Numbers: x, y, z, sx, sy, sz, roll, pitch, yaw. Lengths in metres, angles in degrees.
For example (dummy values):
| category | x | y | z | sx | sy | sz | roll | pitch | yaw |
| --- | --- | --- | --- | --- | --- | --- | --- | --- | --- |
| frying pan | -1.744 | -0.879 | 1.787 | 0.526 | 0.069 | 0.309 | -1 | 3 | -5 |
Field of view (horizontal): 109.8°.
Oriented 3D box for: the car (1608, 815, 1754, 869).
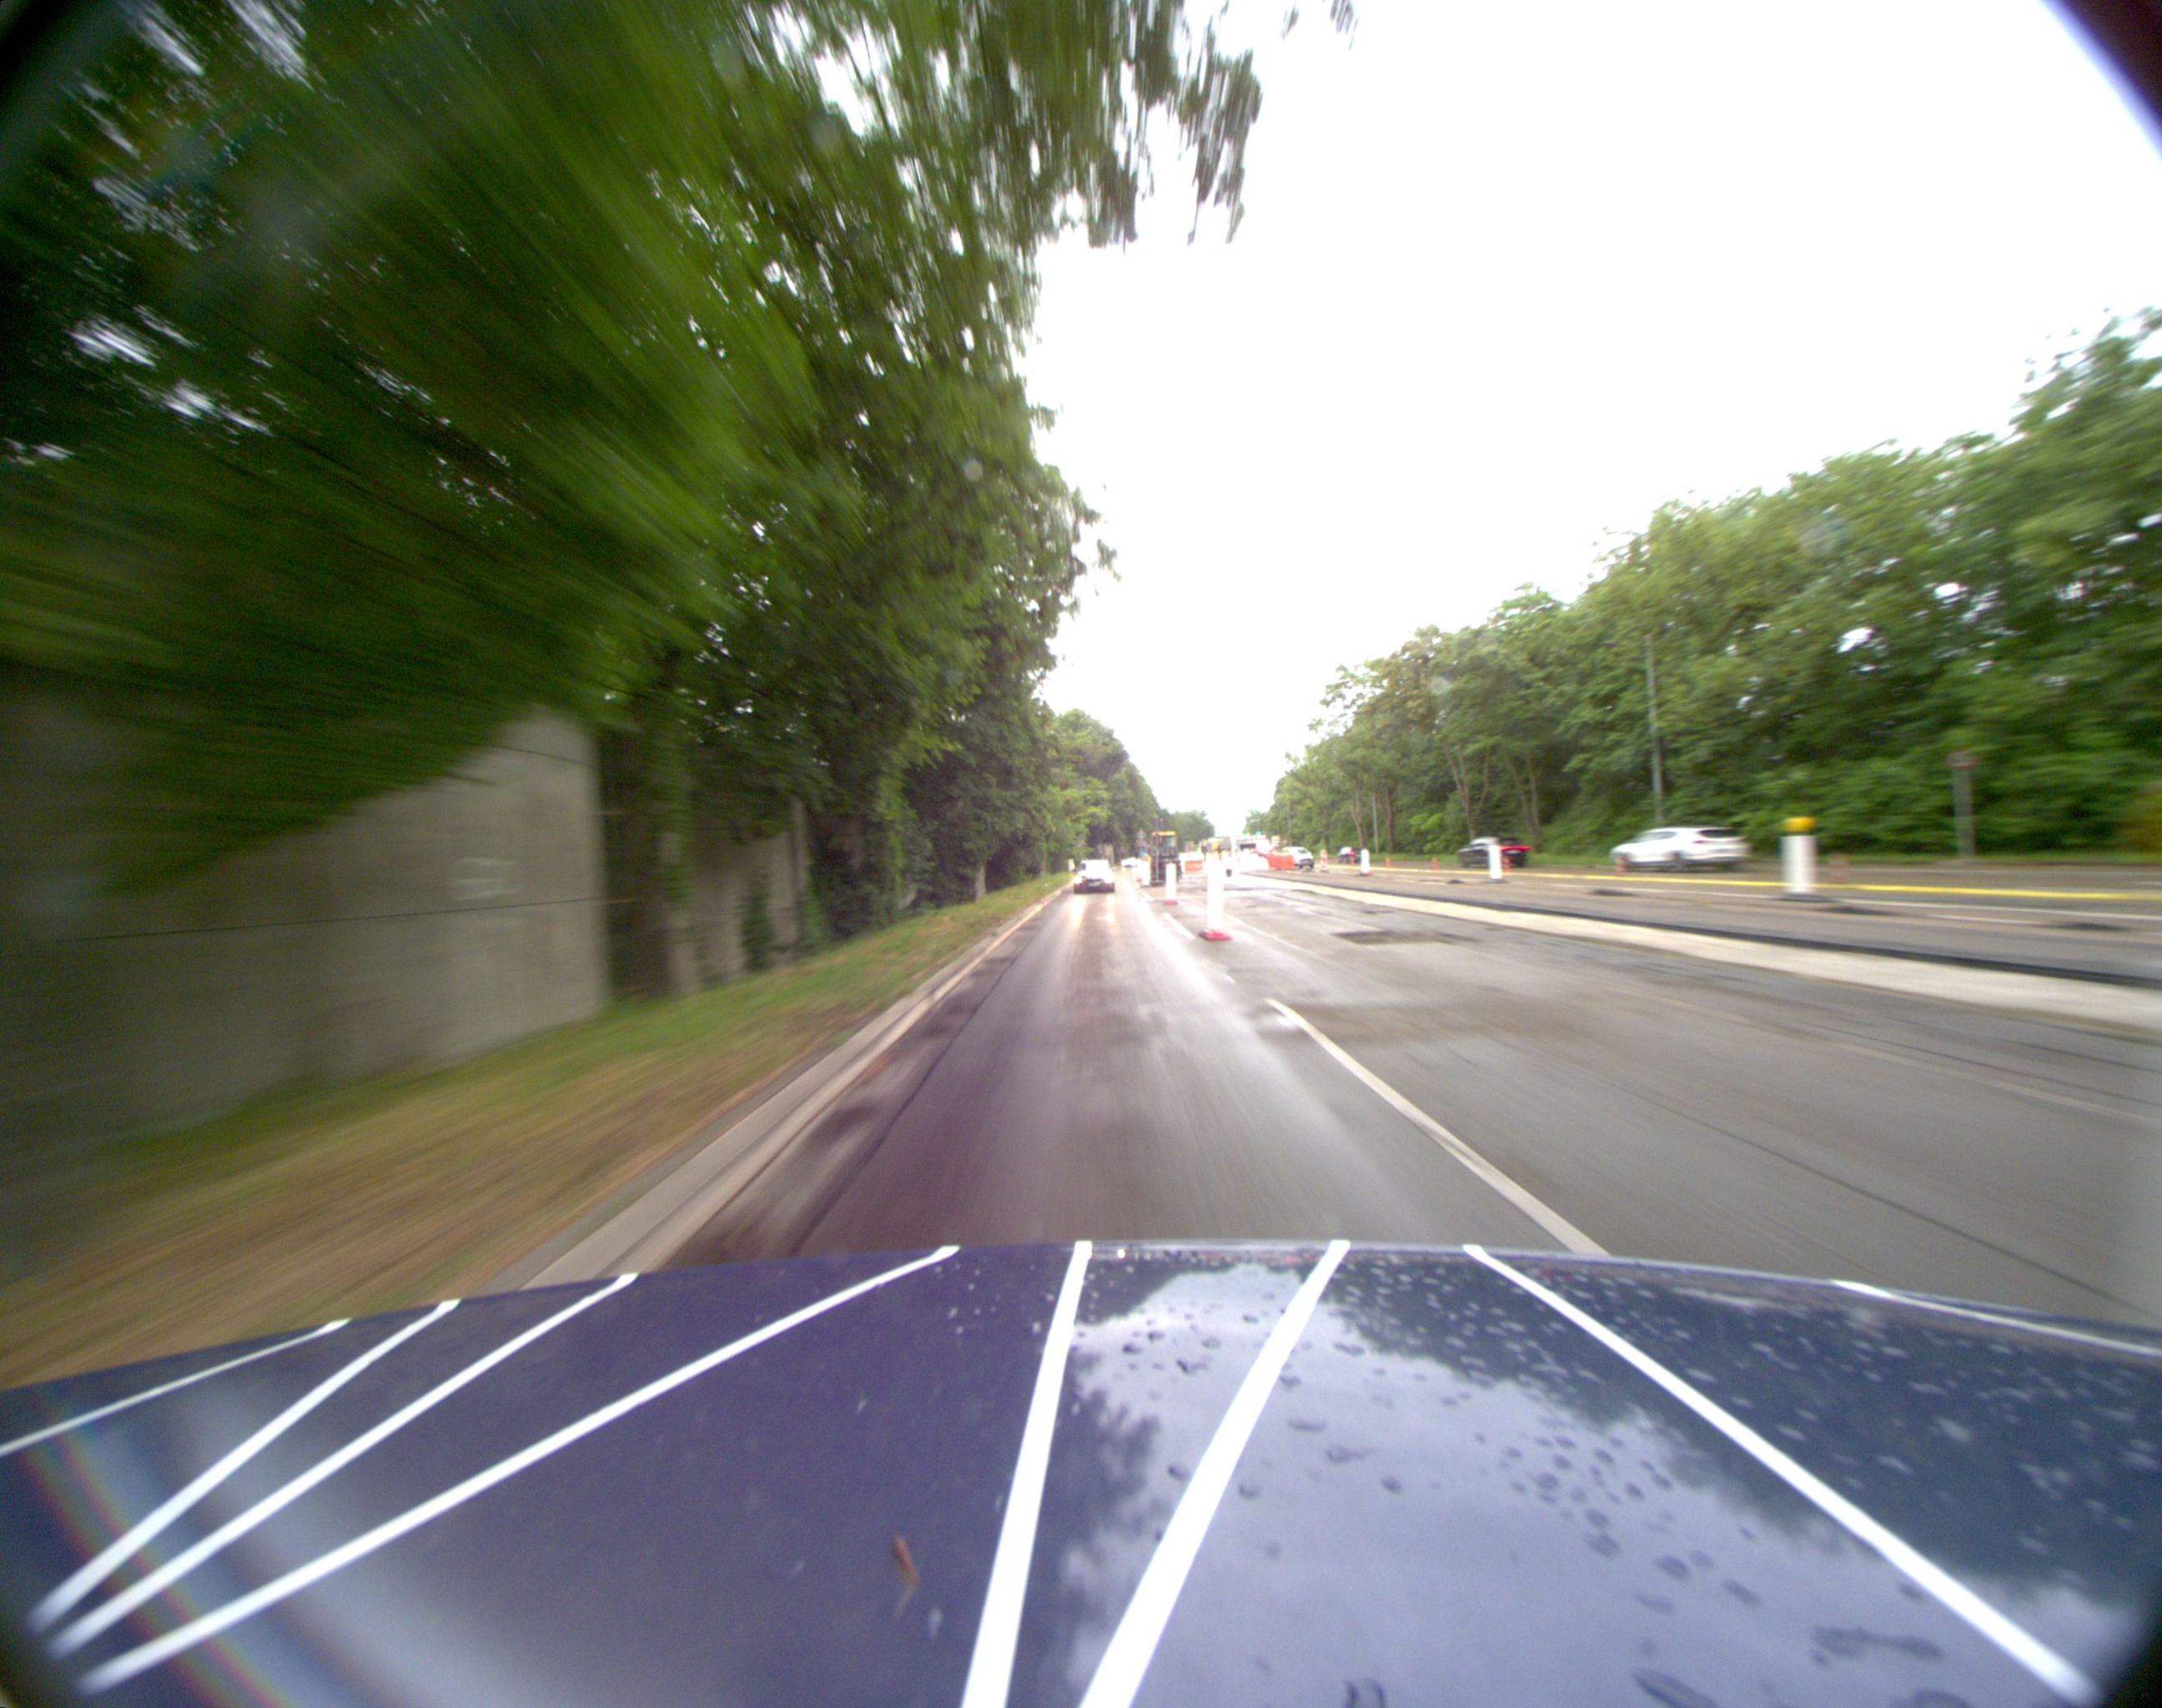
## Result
| category | x | y | z | sx | sy | sz | roll | pitch | yaw |
| --- | --- | --- | --- | --- | --- | --- | --- | --- | --- |
| car | 21.701 | -0.406 | 27.742 | 1.781 | 1.741 | 4.379 | -3 | 0 | -1 |

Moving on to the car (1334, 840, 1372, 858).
| category | x | y | z | sx | sy | sz | roll | pitch | yaw |
| --- | --- | --- | --- | --- | --- | --- | --- | --- | --- |
| car | 24.467 | -0.432 | 68.454 | 1.788 | 1.444 | 4.681 | -3 | 0 | 1 |

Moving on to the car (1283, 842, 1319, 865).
| category | x | y | z | sx | sy | sz | roll | pitch | yaw |
| --- | --- | --- | --- | --- | --- | --- | --- | --- | --- |
| car | 16.650 | -0.061 | 57.680 | 1.793 | 1.575 | 3.862 | -4 | 0 | 4 |

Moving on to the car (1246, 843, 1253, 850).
| category | x | y | z | sx | sy | sz | roll | pitch | yaw |
| --- | --- | --- | --- | --- | --- | --- | --- | --- | --- |
| car | 40.282 | -1.763 | 181.898 | 1.677 | 1.604 | 3.773 | -2 | 0 | 12 |

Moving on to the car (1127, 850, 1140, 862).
| category | x | y | z | sx | sy | sz | roll | pitch | yaw |
| --- | --- | --- | --- | --- | --- | --- | --- | --- | --- |
| car | 7.573 | 0.275 | 109.398 | 1.707 | 1.681 | 4.473 | -2 | 1 | 7 |

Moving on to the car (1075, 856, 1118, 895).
| category | x | y | z | sx | sy | sz | roll | pitch | yaw |
| --- | --- | --- | --- | --- | --- | --- | --- | --- | --- |
| car | 0.735 | 0.898 | 33.099 | 1.701 | 1.477 | 4.000 | -2 | 1 | 3 |

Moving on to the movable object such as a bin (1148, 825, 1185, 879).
| category | x | y | z | sx | sy | sz | roll | pitch | yaw |
| --- | --- | --- | --- | --- | --- | --- | --- | --- | --- |
| movable object such as a bin | 5.025 | -0.137 | 45.193 | 1.808 | 2.968 | 5.246 | -3 | 0 | 4 |

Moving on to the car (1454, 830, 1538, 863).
| category | x | y | z | sx | sy | sz | roll | pitch | yaw |
| --- | --- | --- | --- | --- | --- | --- | --- | --- | --- |
| car | 22.409 | -0.378 | 41.278 | 1.781 | 1.654 | 4.915 | -2 | 0 | -1 |

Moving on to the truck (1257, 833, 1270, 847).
| category | x | y | z | sx | sy | sz | roll | pitch | yaw |
| --- | --- | --- | --- | --- | --- | --- | --- | --- | --- |
| truck | 53.498 | -4.159 | 222.202 | 3.147 | 3.809 | 9.655 | -2 | 1 | 16 |
